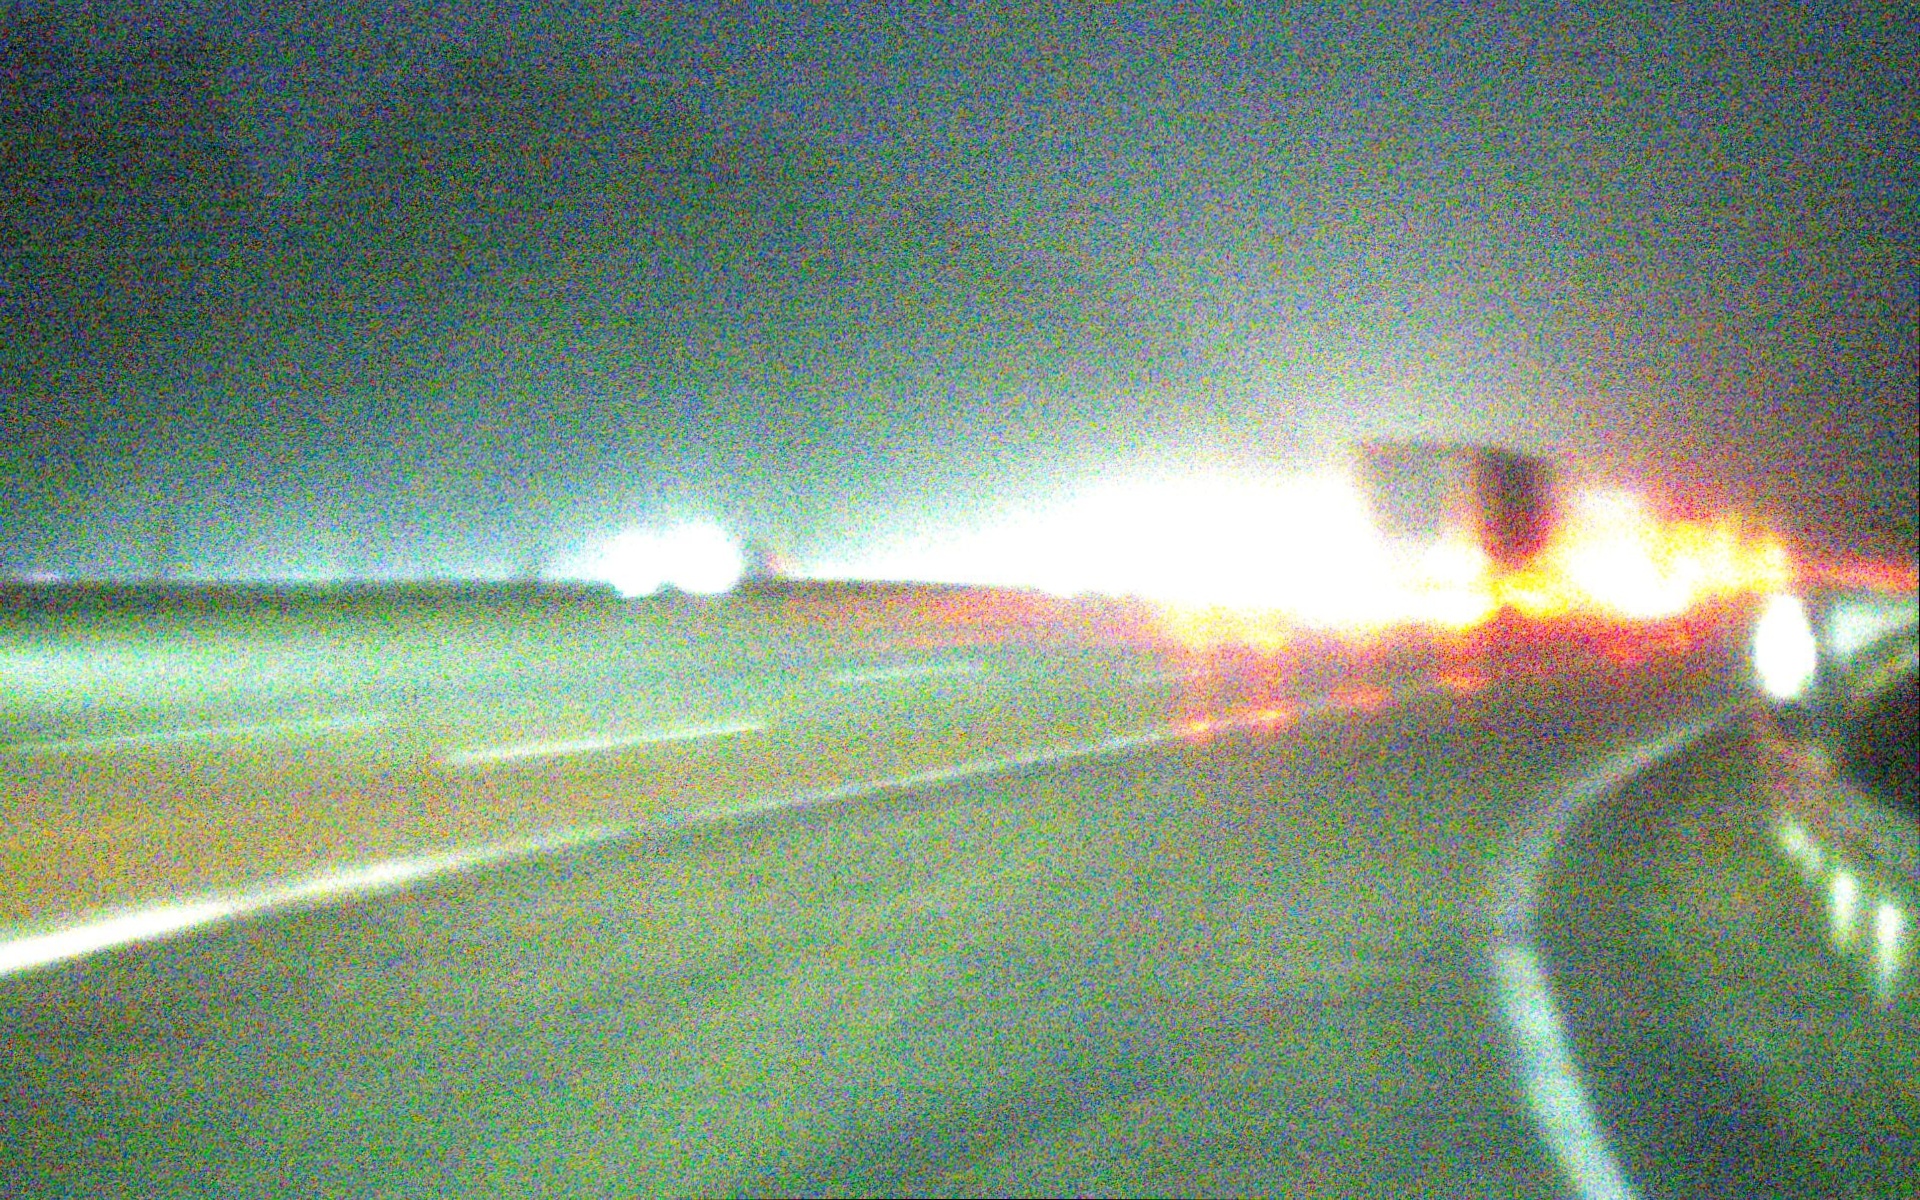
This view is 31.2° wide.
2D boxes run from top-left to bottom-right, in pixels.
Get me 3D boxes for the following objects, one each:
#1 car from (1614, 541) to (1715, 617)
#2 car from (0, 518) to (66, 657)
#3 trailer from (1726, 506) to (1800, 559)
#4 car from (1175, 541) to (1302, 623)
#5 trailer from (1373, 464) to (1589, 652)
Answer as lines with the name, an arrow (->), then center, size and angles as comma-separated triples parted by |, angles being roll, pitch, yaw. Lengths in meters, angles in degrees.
car -> 18.264, -0.540, 89.038 | 1.995, 1.812, 3.996 | 4, 1, 18
car -> -15.080, -0.218, 50.305 | 1.995, 2.006, 3.997 | 4, 1, 17
trailer -> 45.493, -3.773, 194.573 | 2.690, 2.690, 12.845 | 4, 1, 19
car -> 6.051, -0.397, 74.267 | 1.995, 1.612, 3.997 | 3, 1, 15
trailer -> 11.887, -0.900, 77.141 | 2.594, 3.712, 13.641 | 4, 1, 17
